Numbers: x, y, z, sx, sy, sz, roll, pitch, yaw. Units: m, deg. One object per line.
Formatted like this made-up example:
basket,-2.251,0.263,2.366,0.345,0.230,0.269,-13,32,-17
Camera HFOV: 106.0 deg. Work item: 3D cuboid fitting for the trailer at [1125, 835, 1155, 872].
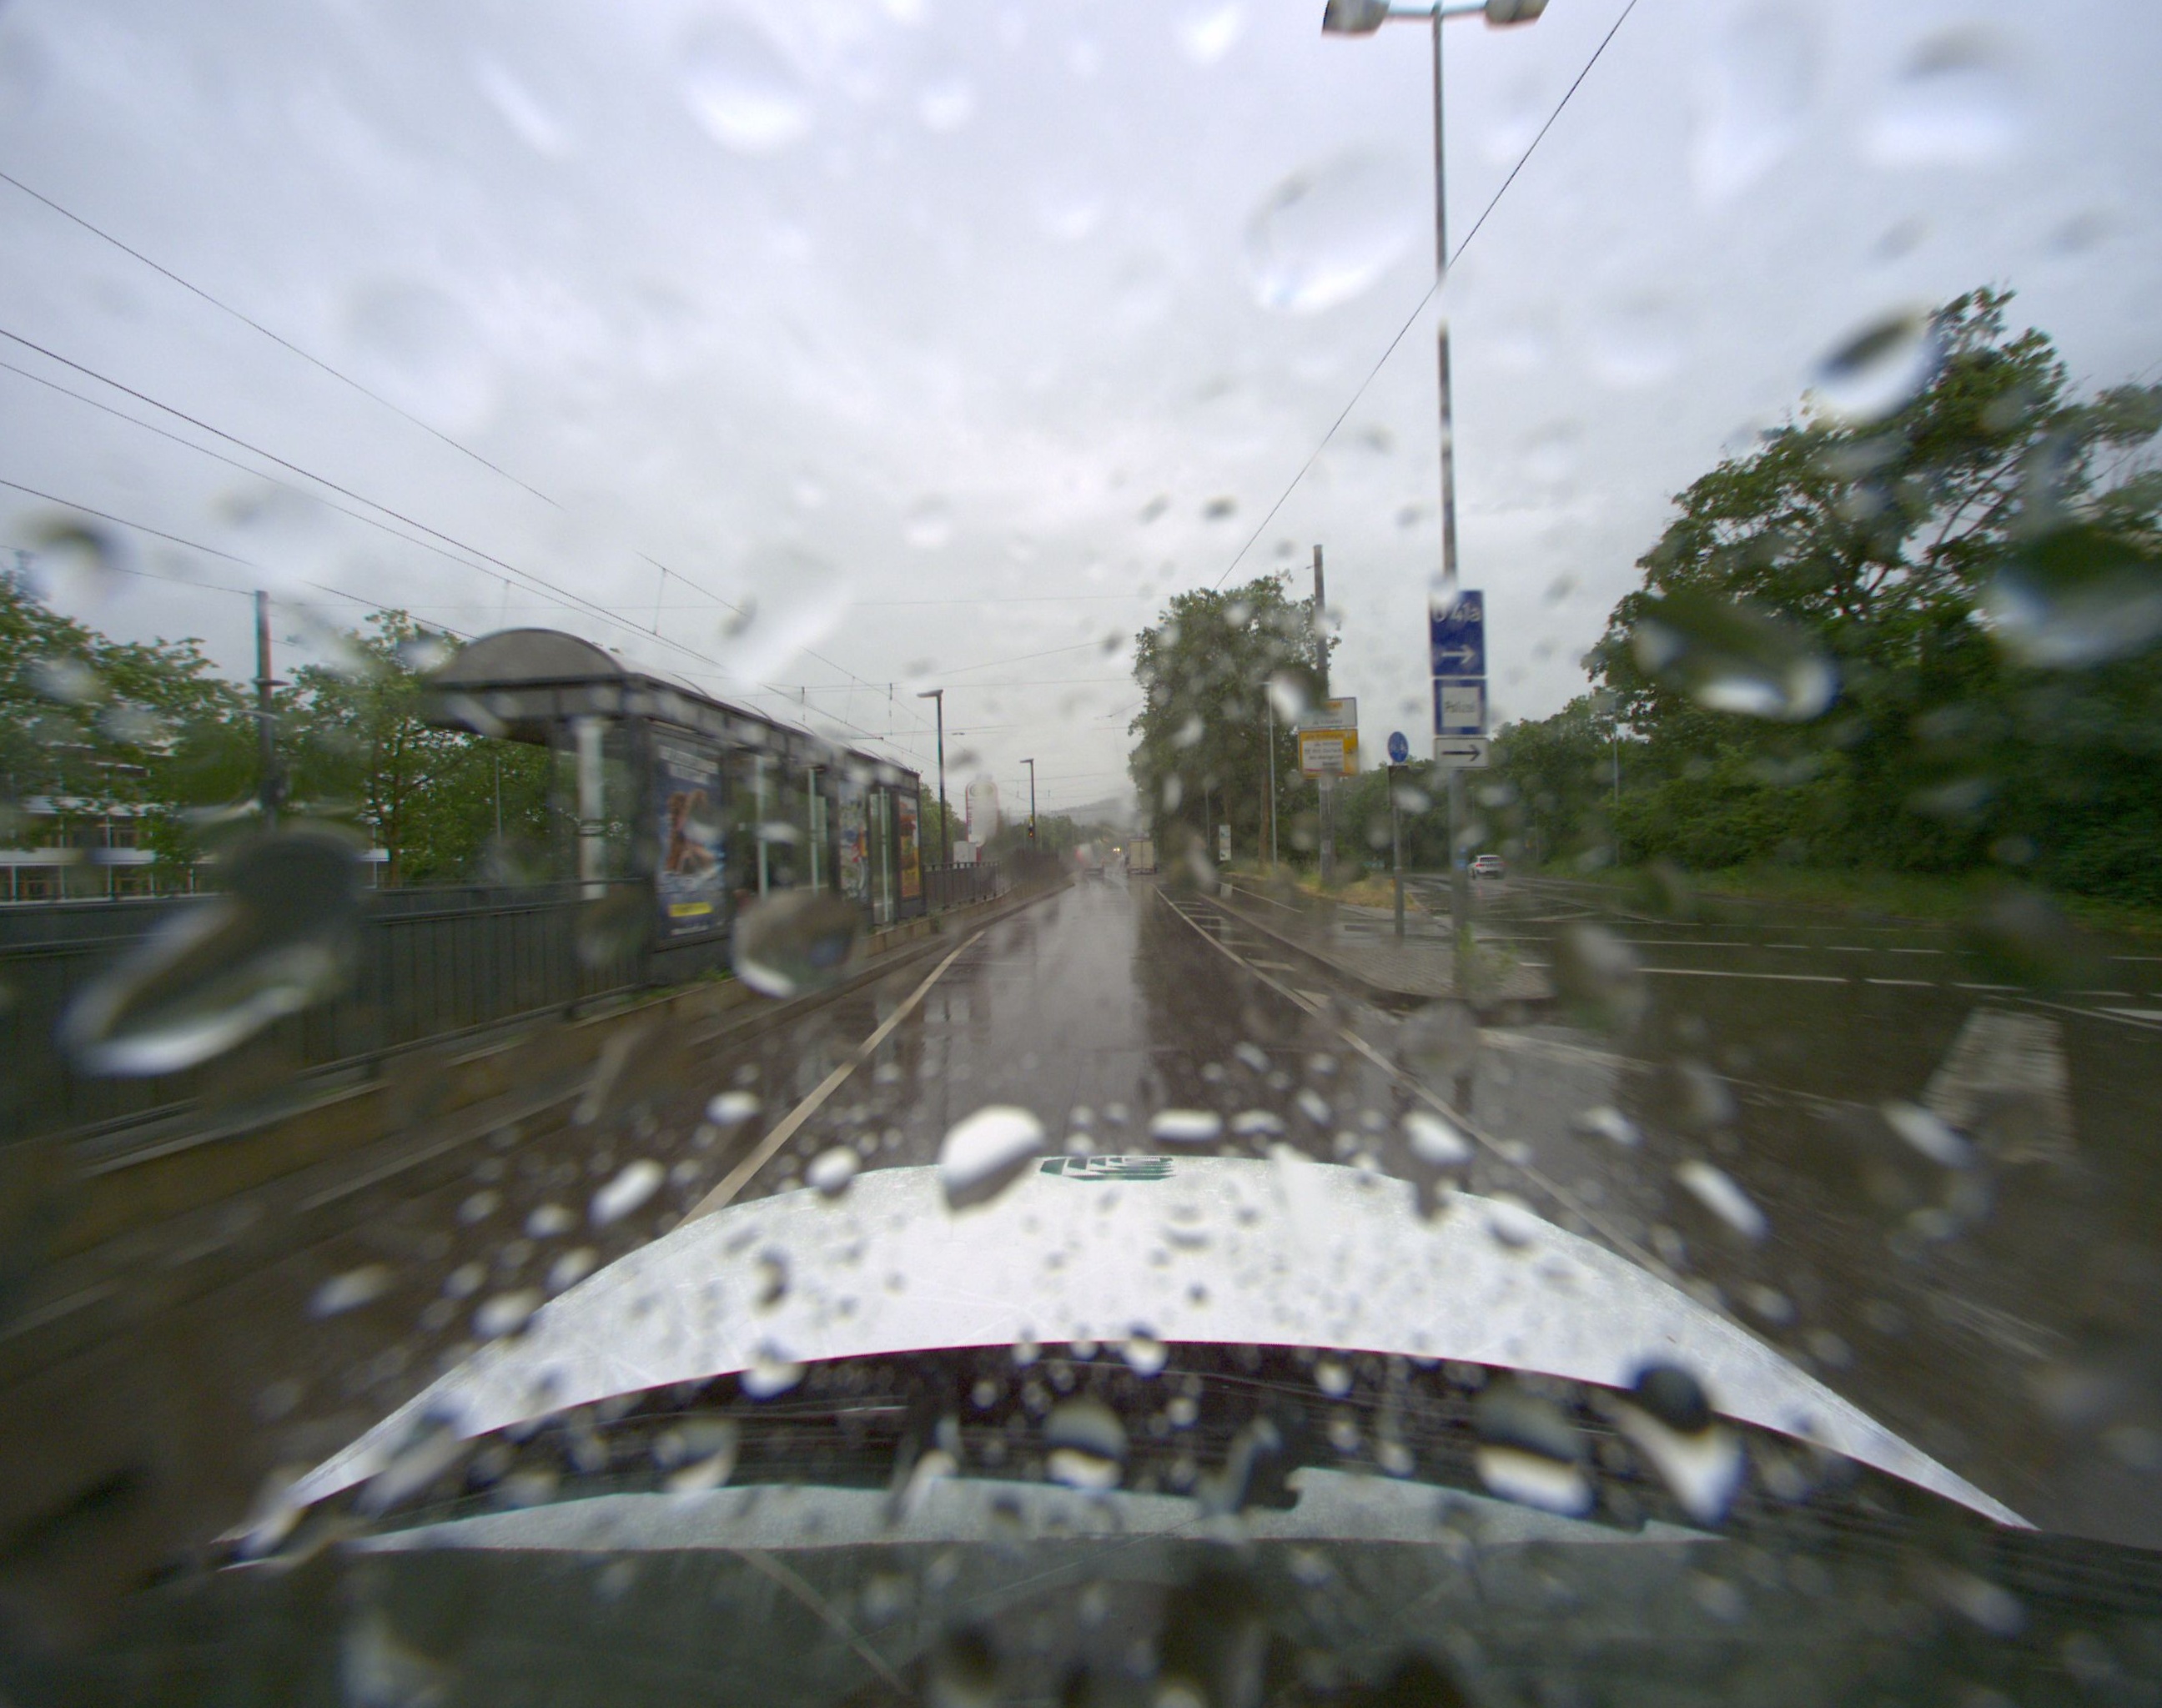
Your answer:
trailer,4.734,-0.022,64.403,2.155,2.757,5.685,-1,-1,6

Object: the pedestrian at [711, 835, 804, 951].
pedestrian,-3.875,0.453,9.796,0.810,1.340,0.660,-1,0,3

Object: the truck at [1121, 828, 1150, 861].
truck,6.284,-1.024,95.636,2.767,3.704,9.850,-1,-1,0

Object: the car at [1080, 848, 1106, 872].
car,0.916,0.473,65.143,1.987,1.849,3.999,-1,0,0

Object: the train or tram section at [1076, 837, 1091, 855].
train or tram section,0.735,-2.000,196.972,2.794,4.149,13.032,-1,0,4

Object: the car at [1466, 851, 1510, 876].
car,24.878,0.552,49.915,1.872,1.431,4.020,-1,0,19

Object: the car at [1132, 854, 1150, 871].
car,6.093,0.842,82.101,1.705,1.529,4.006,-1,0,5

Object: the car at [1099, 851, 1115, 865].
car,3.159,0.548,99.219,1.779,1.642,3.971,-1,-1,3
